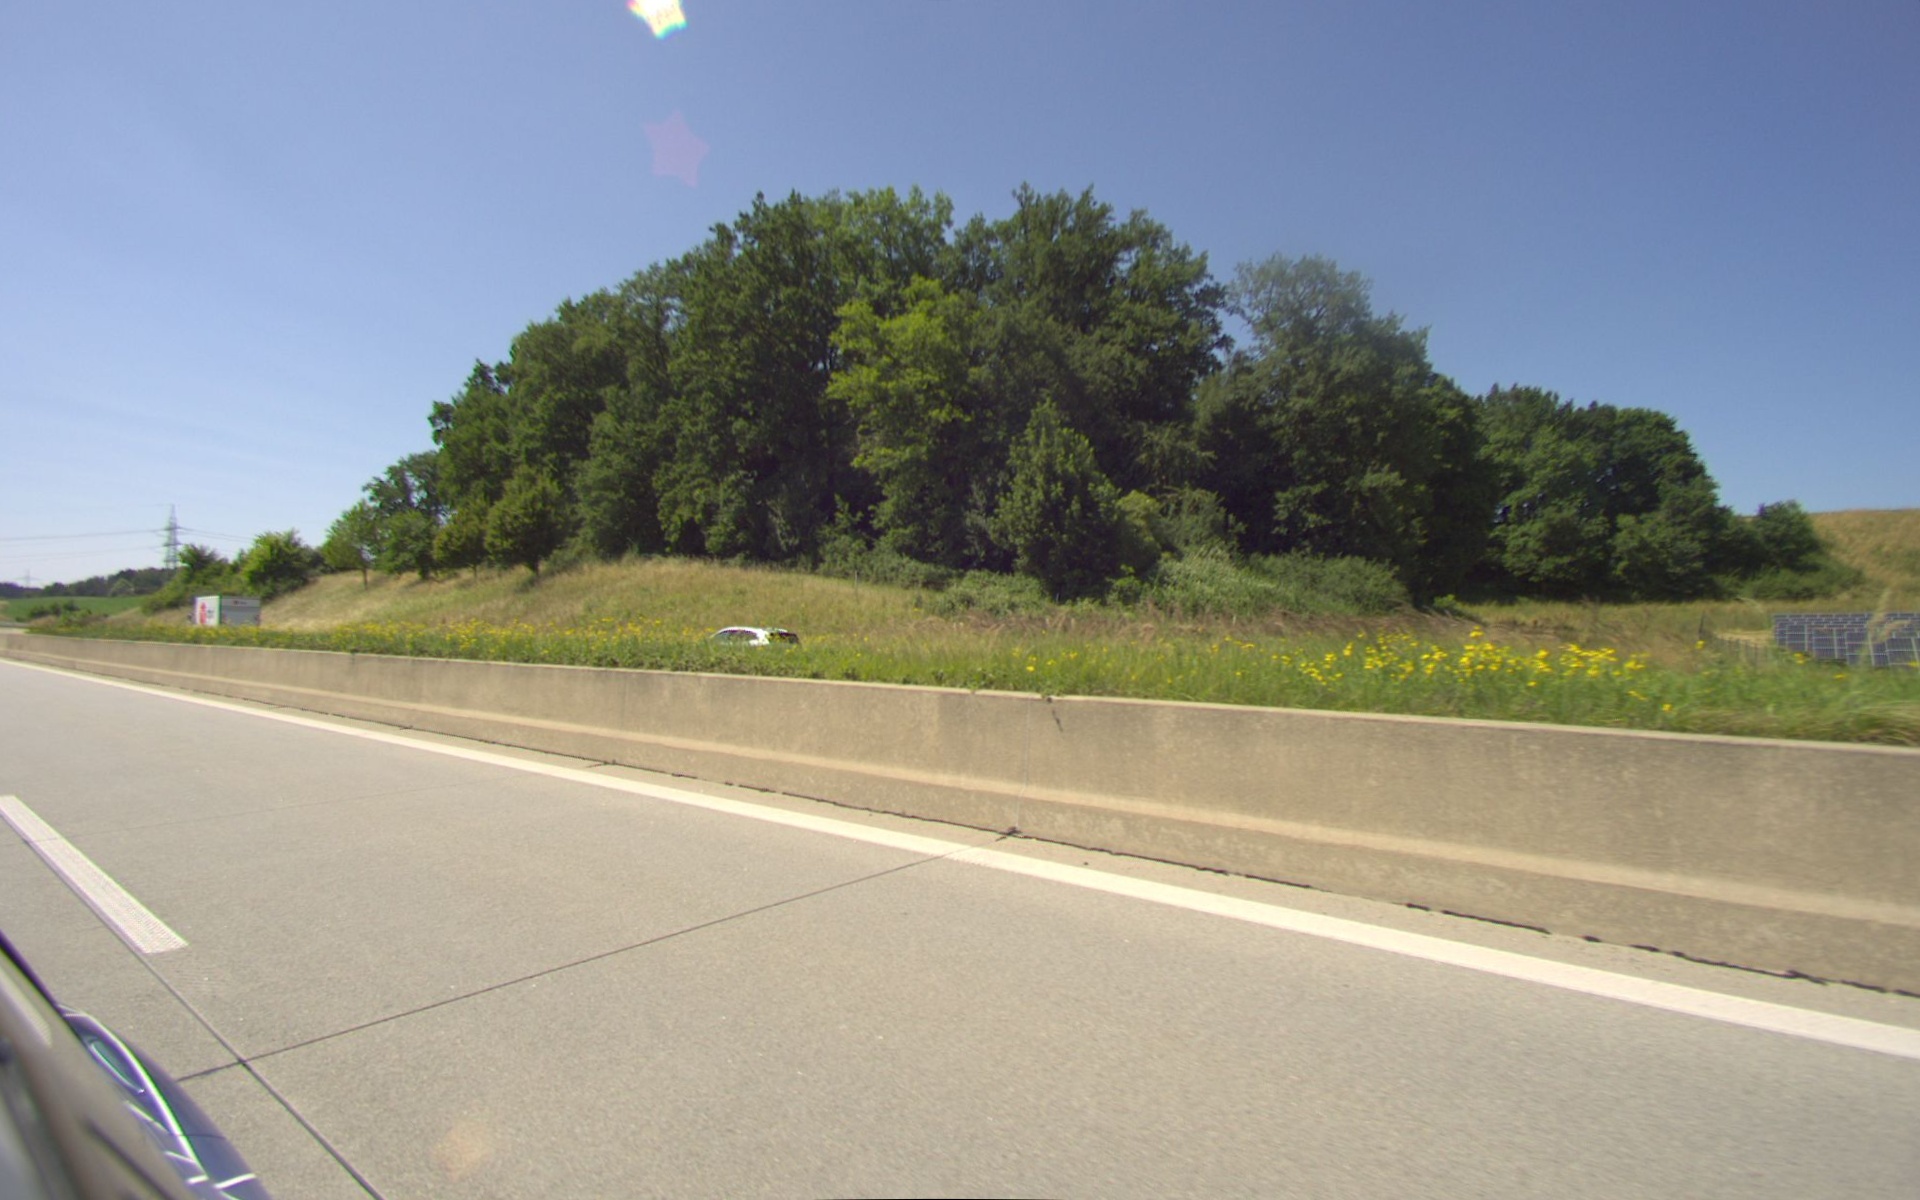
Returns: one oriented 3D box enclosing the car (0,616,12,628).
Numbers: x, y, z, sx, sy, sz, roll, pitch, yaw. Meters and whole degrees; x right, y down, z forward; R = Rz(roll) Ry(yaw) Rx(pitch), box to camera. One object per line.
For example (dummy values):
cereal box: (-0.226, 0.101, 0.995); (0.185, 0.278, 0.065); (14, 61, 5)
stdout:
car: (-173.380, 3.974, 183.263); (3.998, 2.029, 1.973); (-1, 0, 41)

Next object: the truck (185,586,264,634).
truck: (-54.160, 0.754, 74.450); (8.255, 3.378, 2.864); (-1, -2, 41)

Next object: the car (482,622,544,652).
car: (-23.576, 1.932, 53.338); (3.625, 1.411, 1.482); (-2, 2, 40)

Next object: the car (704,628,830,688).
car: (-6.018, 1.730, 31.278); (3.998, 1.630, 1.729); (-1, 0, 41)
